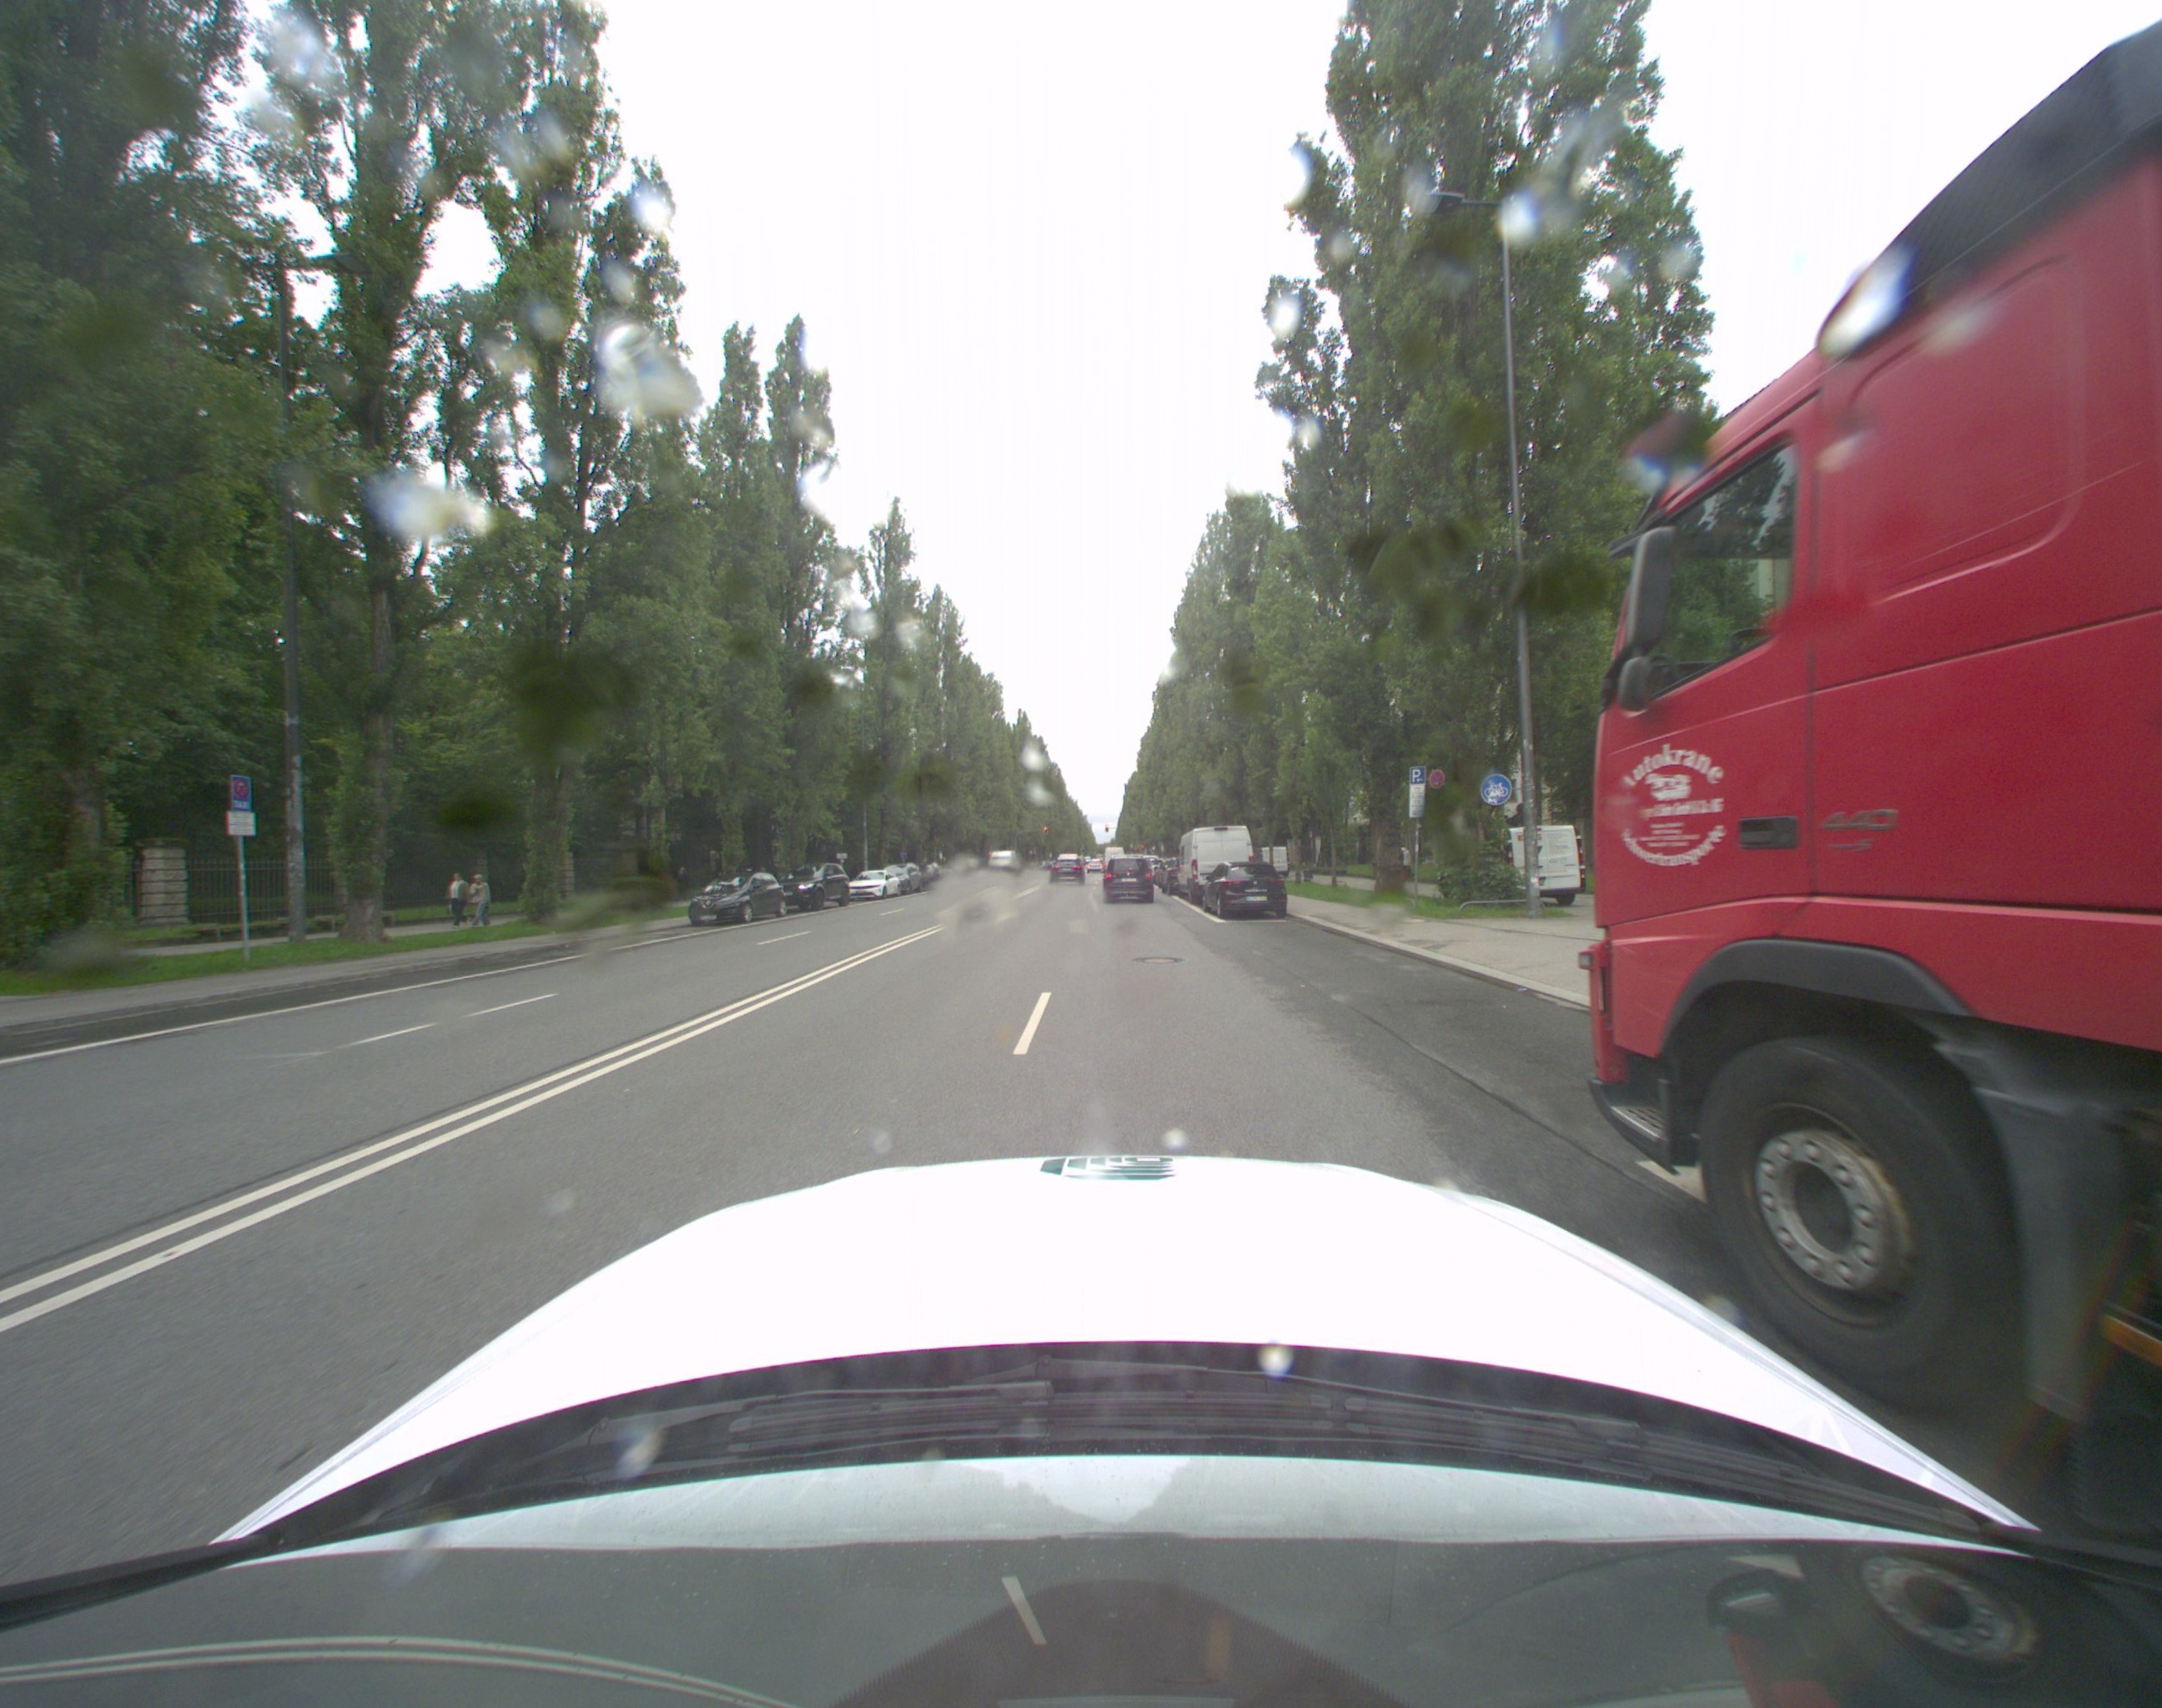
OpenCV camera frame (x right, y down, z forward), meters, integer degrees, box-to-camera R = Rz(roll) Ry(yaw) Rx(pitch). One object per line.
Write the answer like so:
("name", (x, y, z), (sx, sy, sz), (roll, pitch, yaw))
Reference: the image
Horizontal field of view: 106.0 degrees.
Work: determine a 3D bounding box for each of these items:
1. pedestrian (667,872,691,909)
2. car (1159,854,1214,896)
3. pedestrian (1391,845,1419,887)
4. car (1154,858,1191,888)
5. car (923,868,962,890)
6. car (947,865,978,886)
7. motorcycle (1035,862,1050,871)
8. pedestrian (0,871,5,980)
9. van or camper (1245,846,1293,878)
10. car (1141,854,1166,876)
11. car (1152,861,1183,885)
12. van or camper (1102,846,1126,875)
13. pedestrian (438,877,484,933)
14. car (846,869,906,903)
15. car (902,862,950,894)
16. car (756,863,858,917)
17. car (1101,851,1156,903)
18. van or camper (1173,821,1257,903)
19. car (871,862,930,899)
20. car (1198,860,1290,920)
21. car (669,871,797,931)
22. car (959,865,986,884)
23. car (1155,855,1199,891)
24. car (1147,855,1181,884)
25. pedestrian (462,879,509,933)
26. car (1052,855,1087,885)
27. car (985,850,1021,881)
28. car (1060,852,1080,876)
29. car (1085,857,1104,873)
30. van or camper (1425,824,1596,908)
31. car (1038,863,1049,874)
("pedestrian", (-19.963, 1.807, 40.441), (0.663, 1.741, 0.957), (-2, -1, 3))
("car", (4.524, 0.868, 35.481), (1.779, 1.648, 4.417), (-2, 0, 0))
("pedestrian", (13.883, 0.506, 34.917), (0.792, 1.768, 0.895), (-2, -1, 2))
("car", (5.059, 1.033, 45.615), (1.696, 1.520, 4.297), (-2, 0, 2))
("car", (-9.704, 1.722, 57.327), (1.819, 1.334, 4.235), (-4, 0, 2))
("car", (-9.586, 1.736, 66.037), (1.764, 1.452, 4.234), (-4, 0, 1))
("motorcycle", (-6.338, 2.063, 134.409), (2.354, 1.269, 0.930), (-1, -1, 2))
("pedestrian", (-18.516, 1.204, 13.186), (0.707, 1.834, 1.093), (0, -1, 1))
("van or camper", (12.251, 0.510, 53.397), (2.068, 1.933, 5.372), (-1, 0, 3))
("car", (6.449, 0.990, 72.815), (1.845, 1.881, 4.168), (-2, 0, 0))
("car", (6.082, 1.331, 57.629), (1.872, 1.540, 4.467), (-2, 0, 3))
("van or camper", (3.048, 0.620, 75.579), (1.968, 2.548, 4.025), (-2, 0, 0))
("pedestrian", (-18.669, 1.516, 24.543), (0.715, 1.605, 0.813), (-2, 0, 1))
("car", (-10.154, 1.564, 40.620), (1.698, 1.459, 4.274), (-4, -1, 2))
("car", (-9.808, 1.480, 51.799), (1.934, 1.767, 4.896), (-4, 0, 1))
("car", (-10.601, 1.338, 31.925), (2.038, 1.786, 4.803), (-4, -1, 3))
("car", (1.700, 0.803, 29.753), (1.848, 1.770, 4.002), (0, 0, 2))
("van or camper", (4.602, 0.275, 29.028), (2.130, 2.540, 6.420), (-2, 0, 2))
("car", (-10.107, 1.424, 45.934), (1.902, 1.789, 5.182), (-4, -1, 2))
("car", (4.268, 0.891, 21.838), (1.670, 1.420, 4.000), (-2, 0, 1))
("car", (-10.949, 1.413, 25.986), (1.937, 1.583, 4.391), (-4, 0, 3))
("car", (-9.336, 1.727, 70.225), (1.703, 1.451, 3.586), (-4, 0, 1))
("car", (4.723, 0.887, 40.593), (1.777, 1.618, 4.640), (-2, 0, 2))
("car", (5.120, 0.925, 50.551), (1.736, 1.675, 4.582), (-2, 0, 2))
("pedestrian", (-17.817, 1.536, 24.387), (0.715, 1.548, 0.876), (-2, 0, 1))
("car", (-0.619, 0.914, 47.869), (1.774, 1.620, 4.027), (3, 0, 2))
("car", (-6.838, 0.987, 71.858), (2.220, 2.483, 6.760), (-4, 0, 1))
("car", (-1.022, 0.962, 73.713), (1.776, 2.112, 4.022), (0, -2, -1))
("car", (1.487, 1.177, 88.708), (1.986, 1.561, 4.001), (-2, 0, 1))
("van or camper", (11.104, 0.293, 21.557), (1.968, 1.933, 5.040), (-1, 0, 2))
("car", (-6.599, 2.532, 143.276), (1.682, 1.783, 3.777), (-2, 0, 2))
